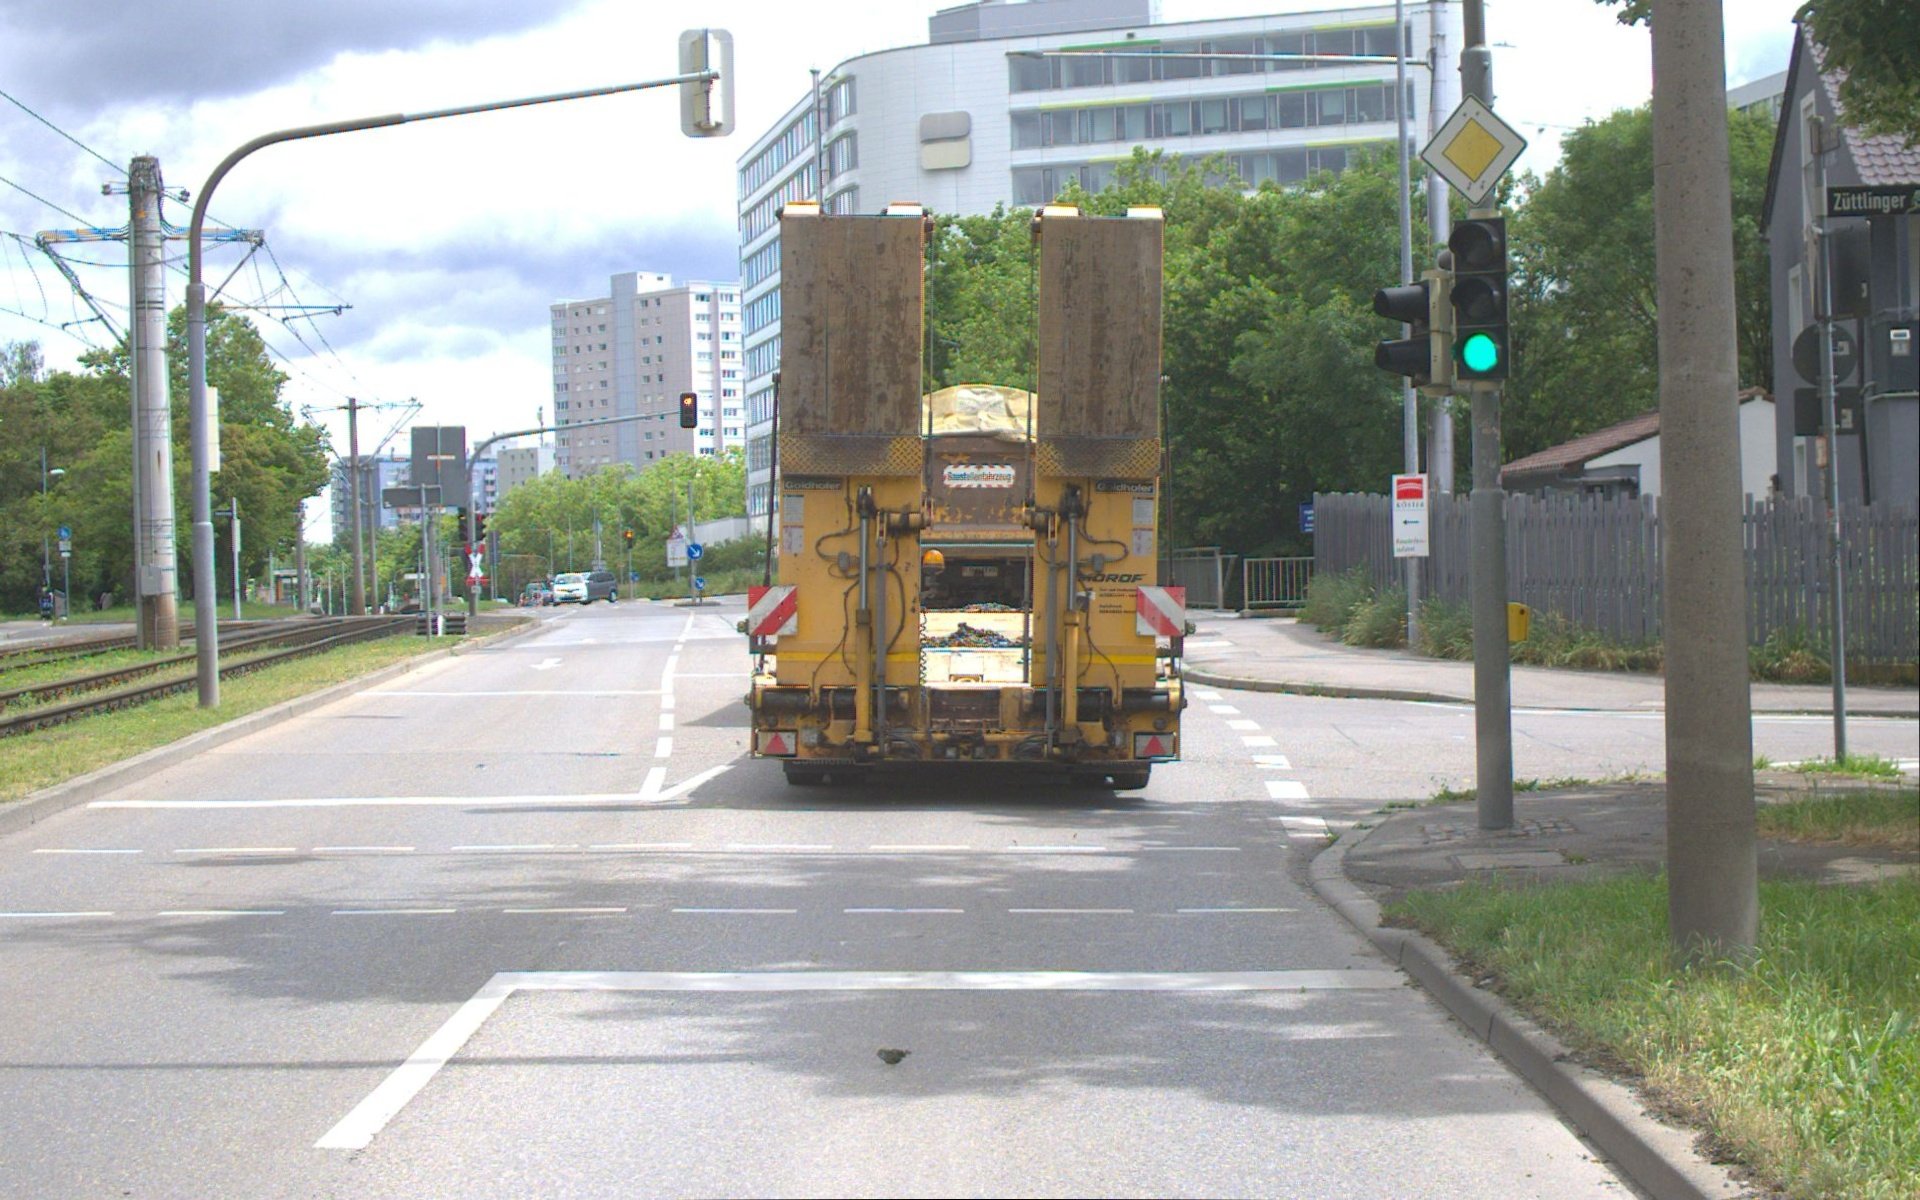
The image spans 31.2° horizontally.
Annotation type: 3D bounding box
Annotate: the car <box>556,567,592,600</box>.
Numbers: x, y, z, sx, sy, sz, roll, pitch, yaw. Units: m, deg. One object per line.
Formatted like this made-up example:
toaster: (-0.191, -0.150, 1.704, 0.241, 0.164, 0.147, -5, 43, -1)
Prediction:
car: (-18.580, -0.801, 165.423, 1.593, 1.521, 3.656, -2, 0, -5)

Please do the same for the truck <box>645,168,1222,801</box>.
truck: (-0.336, -0.693, 26.111, 3.316, 3.638, 12.562, 0, 0, -2)

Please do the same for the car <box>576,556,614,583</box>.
car: (-20.039, -1.667, 188.558, 1.993, 1.415, 4.001, 0, 0, -7)

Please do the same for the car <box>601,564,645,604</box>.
car: (-16.265, -0.766, 165.728, 1.993, 1.919, 4.001, 0, 0, -7)
